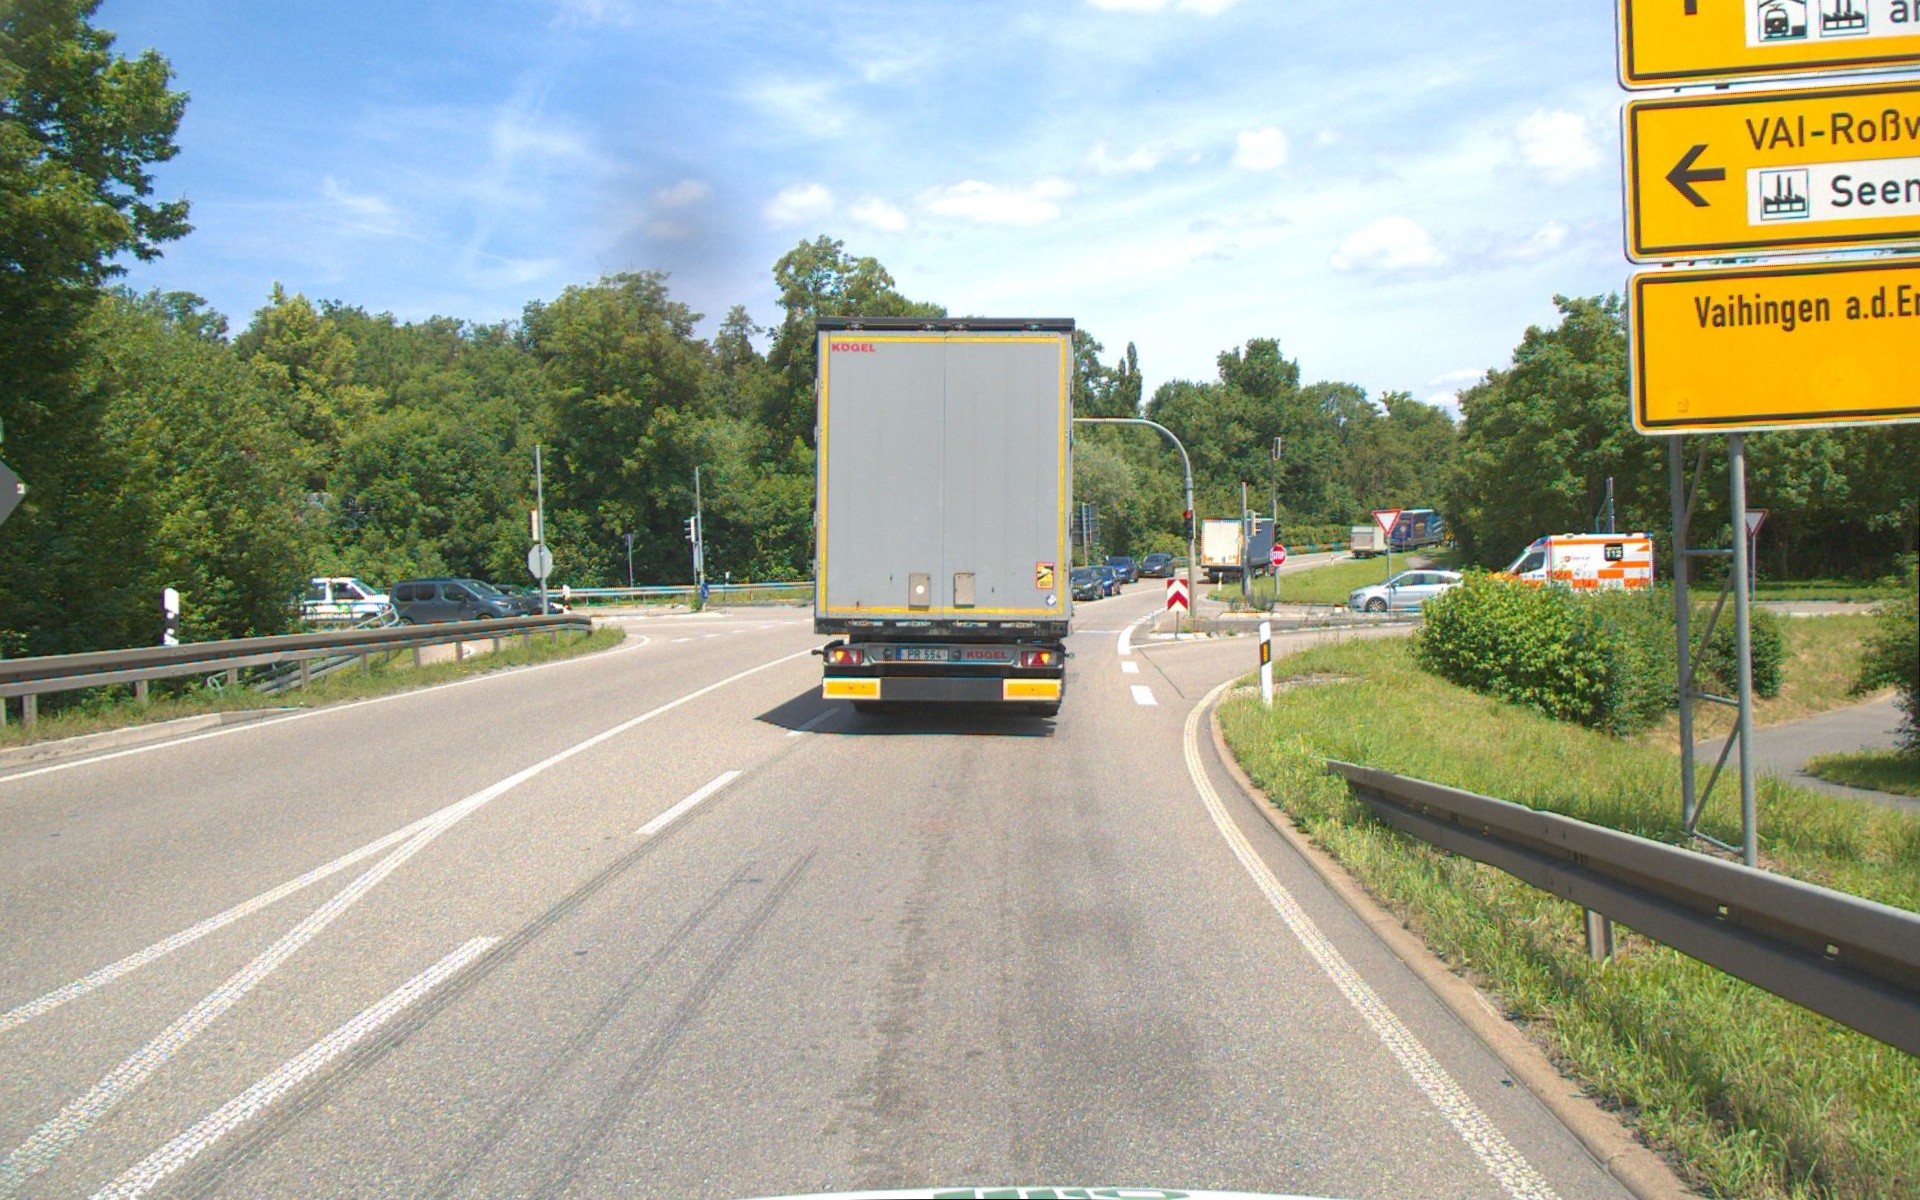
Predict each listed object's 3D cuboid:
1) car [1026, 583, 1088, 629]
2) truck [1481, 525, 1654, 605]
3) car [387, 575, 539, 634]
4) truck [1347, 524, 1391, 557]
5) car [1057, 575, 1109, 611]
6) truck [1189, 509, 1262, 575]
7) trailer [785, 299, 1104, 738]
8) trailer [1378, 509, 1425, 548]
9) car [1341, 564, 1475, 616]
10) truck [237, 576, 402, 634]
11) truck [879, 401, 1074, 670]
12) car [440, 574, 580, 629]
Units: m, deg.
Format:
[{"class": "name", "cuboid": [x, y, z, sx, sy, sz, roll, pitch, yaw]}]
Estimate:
[{"class": "car", "cuboid": [4.029, 0.283, 68.013, 1.951, 1.816, 4.946, 1, -1, 10]}, {"class": "truck", "cuboid": [22.479, -1.267, 61.187, 5.889, 2.775, 2.501, 0, -1, 23]}, {"class": "car", "cuboid": [-15.583, 0.150, 51.939, 4.143, 1.801, 2.002, 0, 0, 12]}, {"class": "truck", "cuboid": [38.488, -5.570, 155.571, 2.798, 2.999, 7.101, 0, 1, 24]}, {"class": "car", "cuboid": [5.740, -0.307, 76.925, 1.951, 1.517, 4.261, 1, -1, 10]}, {"class": "truck", "cuboid": [17.487, -3.825, 108.183, 3.112, 4.098, 11.755, 0, 3, 17]}, {"class": "trailer", "cuboid": [0.102, -0.901, 21.838, 2.988, 4.104, 12.564, 0, 1, 2]}, {"class": "trailer", "cuboid": [45.493, -7.285, 170.222, 3.186, 3.749, 9.246, 0, 1, 24]}, {"class": "car", "cuboid": [15.725, -0.348, 58.267, 4.333, 1.748, 2.001, 1, -1, 8]}, {"class": "truck", "cuboid": [-21.374, 0.199, 55.393, 4.786, 1.823, 2.039, 1, -1, -10]}, {"class": "truck", "cuboid": [0.385, -1.056, 28.624, 2.975, 4.104, 6.632, 0, 1, 2]}, {"class": "car", "cuboid": [-15.231, 0.044, 56.061, 4.143, 1.801, 2.002, 0, 0, 12]}]
